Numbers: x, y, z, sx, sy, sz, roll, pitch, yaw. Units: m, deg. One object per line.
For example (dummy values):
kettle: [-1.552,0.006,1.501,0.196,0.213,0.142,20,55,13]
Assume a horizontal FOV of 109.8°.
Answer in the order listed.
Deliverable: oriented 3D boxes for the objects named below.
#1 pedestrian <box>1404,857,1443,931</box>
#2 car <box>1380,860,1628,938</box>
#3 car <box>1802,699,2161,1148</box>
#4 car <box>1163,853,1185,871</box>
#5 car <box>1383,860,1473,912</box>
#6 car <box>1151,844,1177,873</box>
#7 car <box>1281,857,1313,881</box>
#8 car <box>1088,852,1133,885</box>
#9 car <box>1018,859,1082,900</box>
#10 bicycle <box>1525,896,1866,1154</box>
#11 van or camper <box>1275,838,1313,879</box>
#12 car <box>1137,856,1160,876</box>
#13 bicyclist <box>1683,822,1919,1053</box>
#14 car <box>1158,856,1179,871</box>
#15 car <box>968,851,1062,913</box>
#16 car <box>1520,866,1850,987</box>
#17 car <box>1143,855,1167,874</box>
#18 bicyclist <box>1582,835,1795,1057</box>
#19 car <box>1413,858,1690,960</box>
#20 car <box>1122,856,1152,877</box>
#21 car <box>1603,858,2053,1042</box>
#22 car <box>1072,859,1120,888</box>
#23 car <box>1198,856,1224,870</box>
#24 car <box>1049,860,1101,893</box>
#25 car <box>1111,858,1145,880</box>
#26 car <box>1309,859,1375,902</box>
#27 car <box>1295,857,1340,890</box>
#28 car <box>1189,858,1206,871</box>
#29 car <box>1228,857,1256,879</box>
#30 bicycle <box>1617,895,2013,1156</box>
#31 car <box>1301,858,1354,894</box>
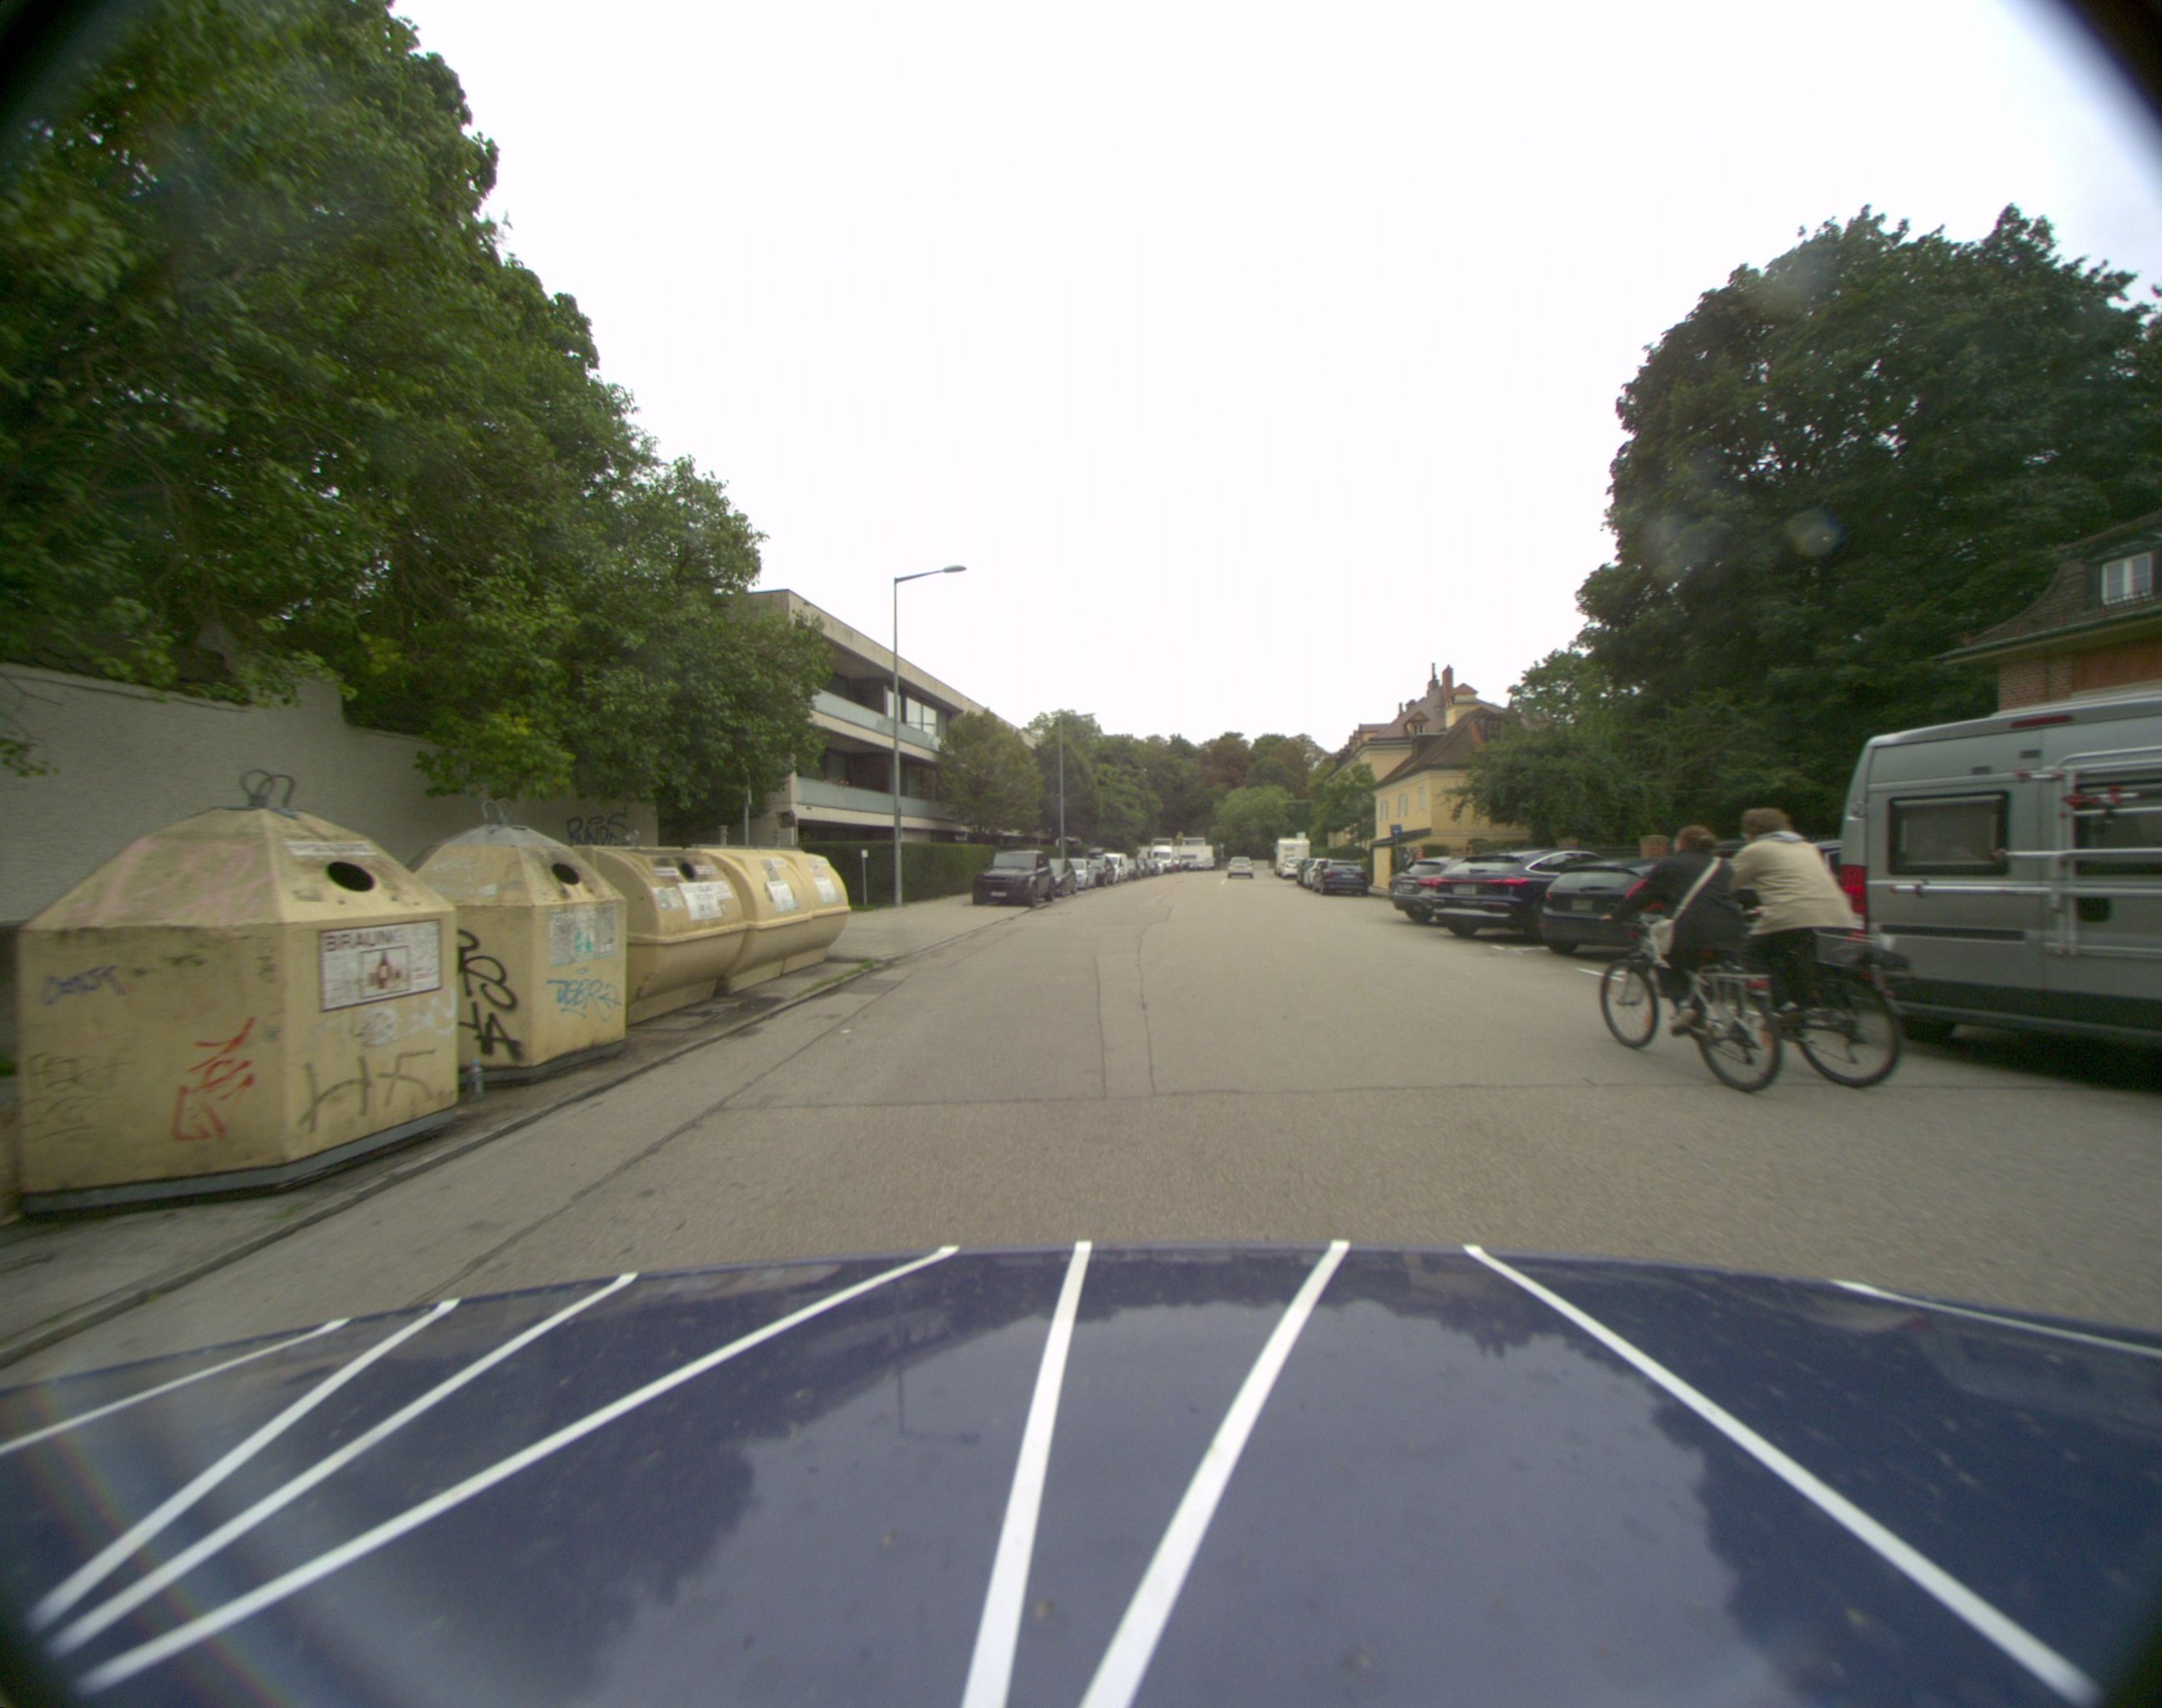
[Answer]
pedestrian: [7.847,0.903,17.452,0.591,1.638,0.714,1,1,5]
car: [9.065,0.926,16.541,4.342,1.521,1.933,0,1,-2]
car: [8.086,0.417,5.644,4.642,2.548,2.230,1,0,-22]
car: [10.650,0.911,86.659,1.937,1.893,5.077,2,0,13]
car: [11.560,1.001,25.606,1.743,1.526,4.152,2,0,10]
car: [8.286,0.437,75.430,2.083,2.670,6.094,2,0,10]
car: [14.637,0.986,51.657,1.781,1.526,4.232,2,0,12]
car: [1.851,0.840,46.525,1.825,1.849,4.903,-2,-1,13]
car: [-1.176,1.008,31.320,1.751,1.530,4.573,-1,0,9]
bicycle: [3.991,0.999,5.232,0.708,1.298,2.119,0,0,3]
van or camper: [16.585,0.321,59.460,2.458,2.923,7.219,1,0,13]
car: [5.584,0.979,62.790,1.283,1.497,5.212,2,0,11]
bicyclist: [4.709,0.505,5.049,0.698,1.389,0.930,0,0,2]
car: [9.388,1.044,81.569,1.874,1.498,4.842,2,0,10]
car: [-2.100,0.859,26.022,1.991,1.860,5.081,-1,1,9]
car: [9.021,0.973,11.370,4.427,1.478,1.830,1,1,-21]
car: [6.747,0.930,68.895,1.874,1.560,5.006,2,-1,9]
bicyclist: [3.981,0.561,5.065,0.698,1.344,0.930,0,0,2]
car: [8.540,0.909,13.824,4.532,1.584,1.961,1,0,-22]
car: [4.301,0.918,57.486,1.729,1.520,4.208,1,0,11]
car: [8.481,0.902,8.647,4.532,1.616,1.963,1,1,-22]
car: [0.883,1.008,41.460,1.750,1.471,4.602,-1,-1,12]
car: [15.449,1.096,90.290,1.995,1.683,4.343,0,-1,24]
car: [-0.234,1.066,36.974,1.750,1.472,3.891,0,0,11]
car: [3.271,1.020,52.240,1.750,1.455,4.246,0,0,11]
car: [10.559,1.003,31.039,1.848,1.526,4.565,2,0,10]
car: [12.556,0.983,40.581,1.848,1.526,4.445,2,1,12]
car: [14.845,1.333,97.125,1.895,1.437,4.272,-3,-2,5]
car: [11.256,0.938,53.319,1.775,1.466,4.137,-1,0,10]
bicycle: [4.708,0.984,5.164,0.709,1.298,2.119,0,0,3]
car: [11.560,0.995,35.860,1.848,1.526,4.525,2,0,12]
